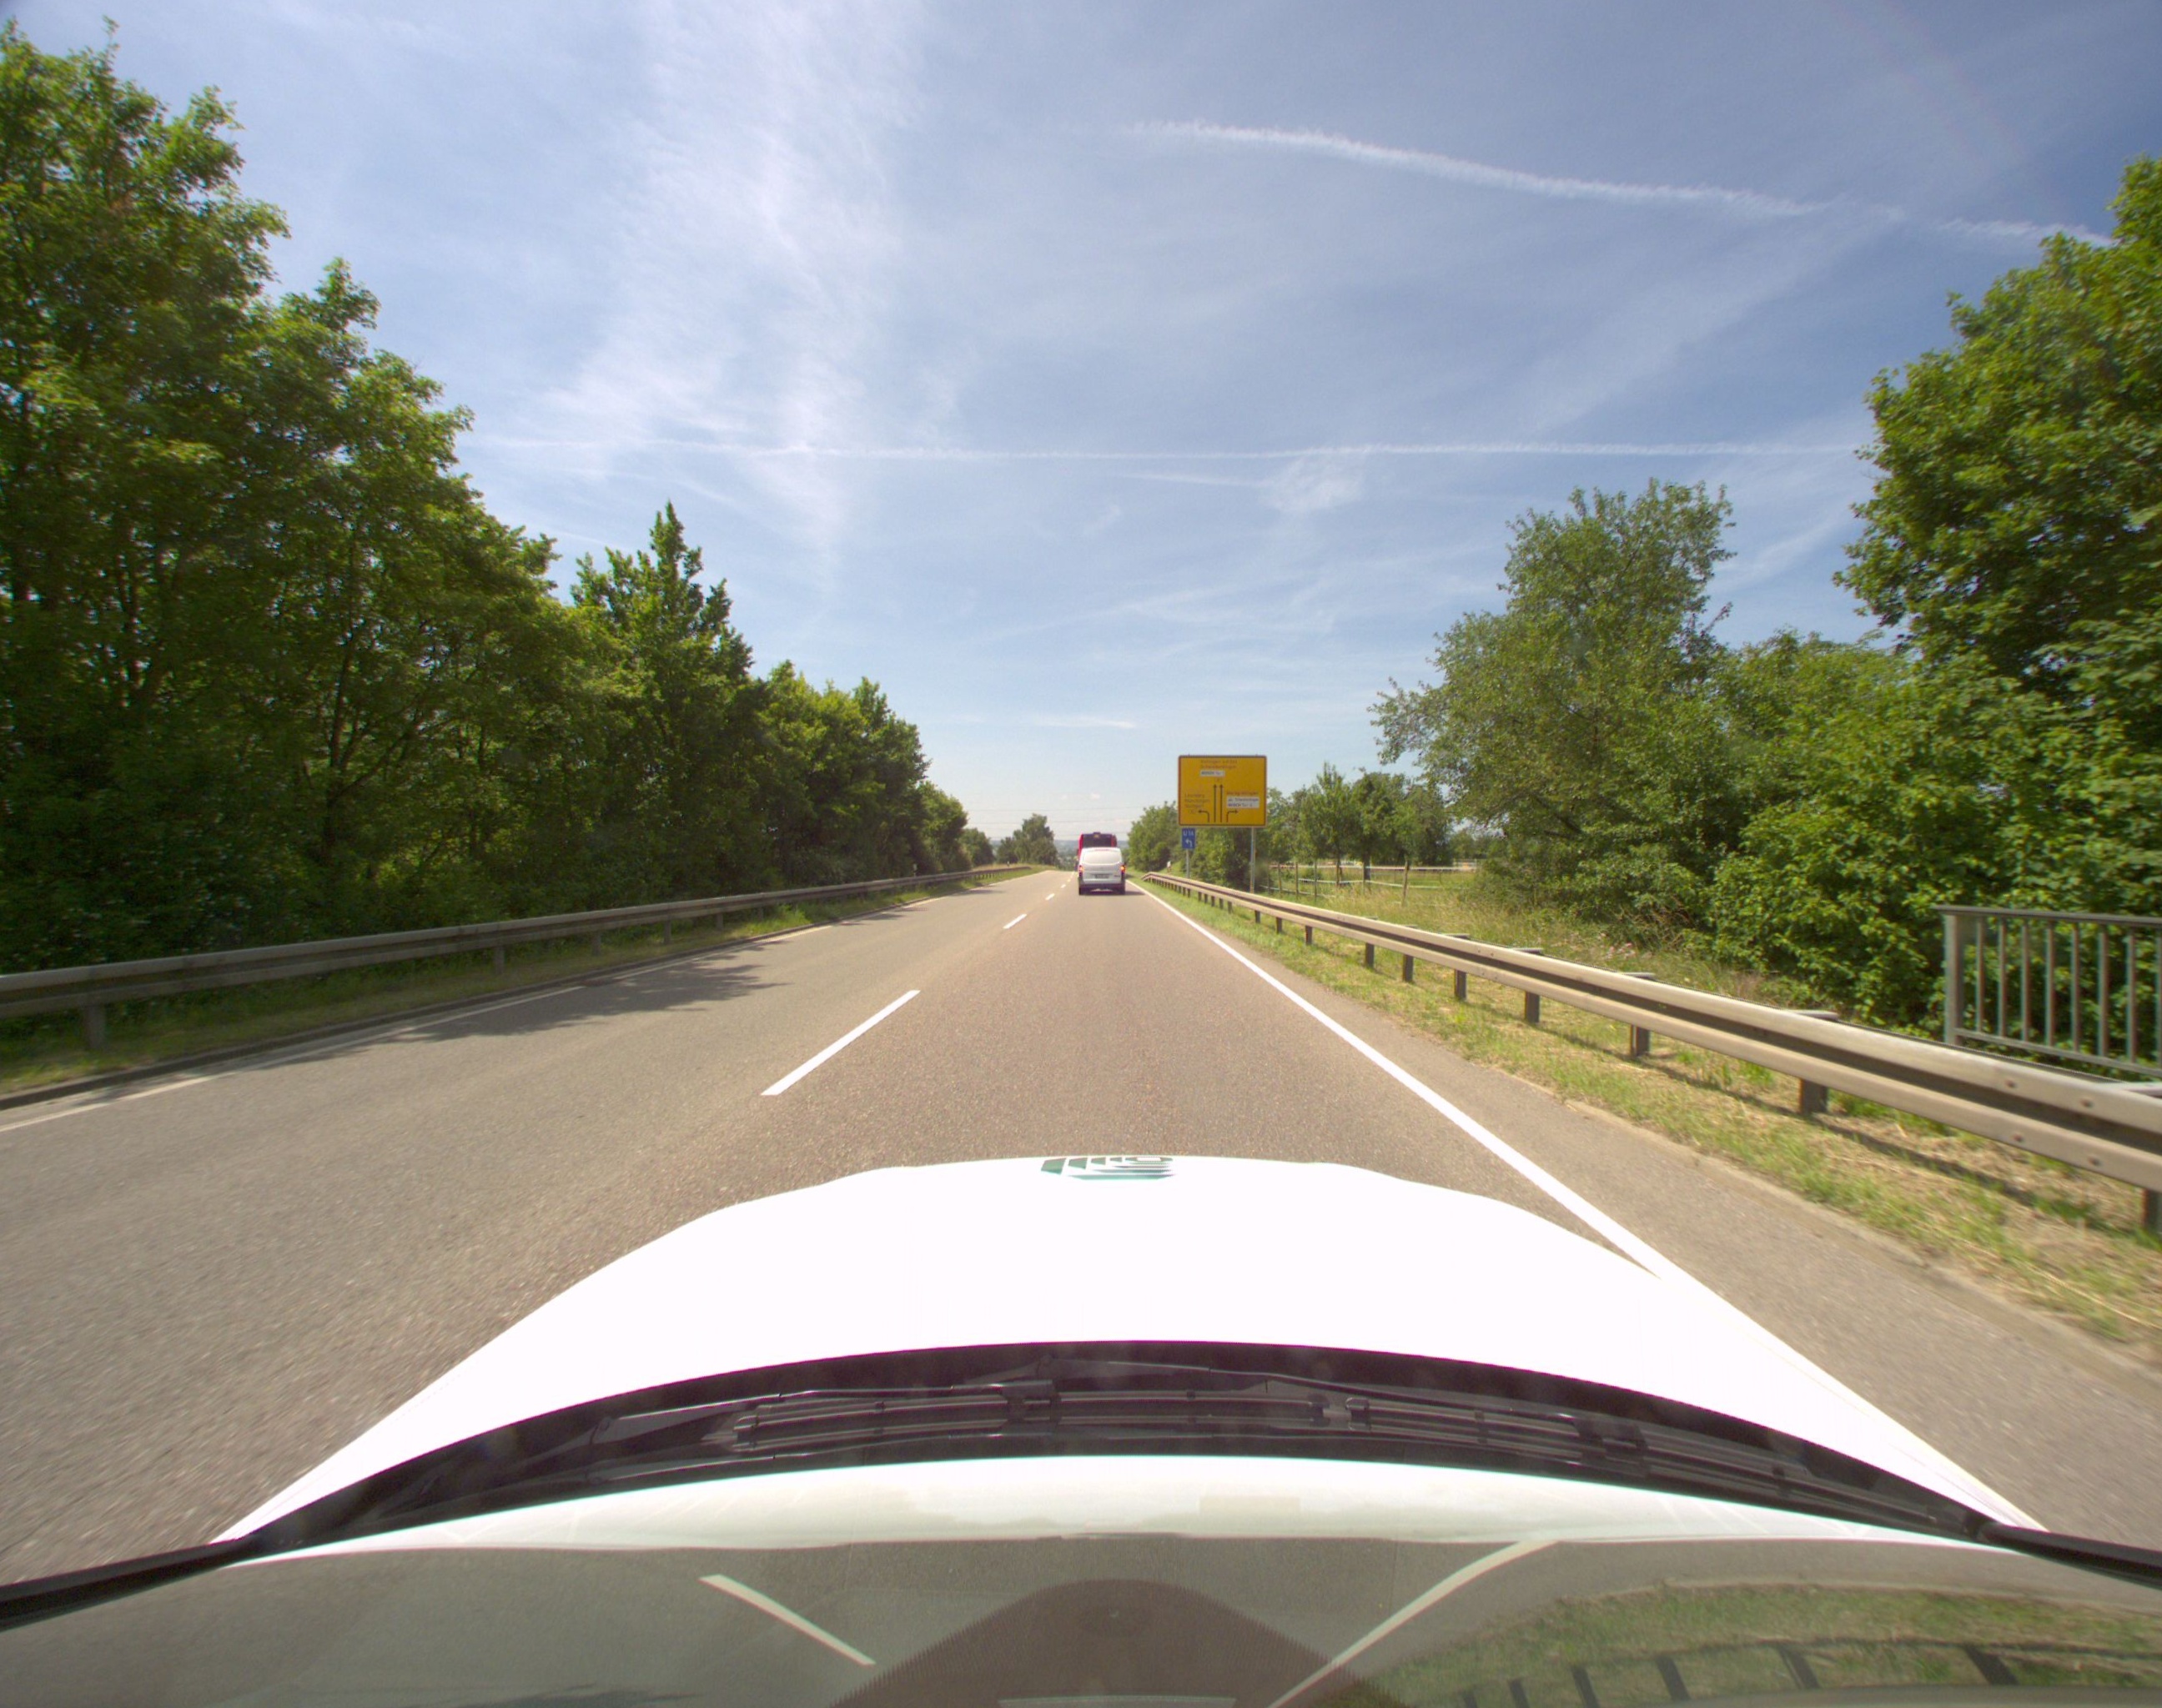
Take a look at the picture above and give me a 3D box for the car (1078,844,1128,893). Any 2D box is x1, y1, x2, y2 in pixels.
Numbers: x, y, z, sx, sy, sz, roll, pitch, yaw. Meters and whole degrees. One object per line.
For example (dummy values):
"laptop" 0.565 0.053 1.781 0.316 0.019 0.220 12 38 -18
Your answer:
"car" 0.857 0.553 33.597 1.917 1.889 3.999 0 1 0

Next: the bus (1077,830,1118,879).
"bus" 1.172 -0.051 62.881 2.738 3.353 13.221 -1 0 0
